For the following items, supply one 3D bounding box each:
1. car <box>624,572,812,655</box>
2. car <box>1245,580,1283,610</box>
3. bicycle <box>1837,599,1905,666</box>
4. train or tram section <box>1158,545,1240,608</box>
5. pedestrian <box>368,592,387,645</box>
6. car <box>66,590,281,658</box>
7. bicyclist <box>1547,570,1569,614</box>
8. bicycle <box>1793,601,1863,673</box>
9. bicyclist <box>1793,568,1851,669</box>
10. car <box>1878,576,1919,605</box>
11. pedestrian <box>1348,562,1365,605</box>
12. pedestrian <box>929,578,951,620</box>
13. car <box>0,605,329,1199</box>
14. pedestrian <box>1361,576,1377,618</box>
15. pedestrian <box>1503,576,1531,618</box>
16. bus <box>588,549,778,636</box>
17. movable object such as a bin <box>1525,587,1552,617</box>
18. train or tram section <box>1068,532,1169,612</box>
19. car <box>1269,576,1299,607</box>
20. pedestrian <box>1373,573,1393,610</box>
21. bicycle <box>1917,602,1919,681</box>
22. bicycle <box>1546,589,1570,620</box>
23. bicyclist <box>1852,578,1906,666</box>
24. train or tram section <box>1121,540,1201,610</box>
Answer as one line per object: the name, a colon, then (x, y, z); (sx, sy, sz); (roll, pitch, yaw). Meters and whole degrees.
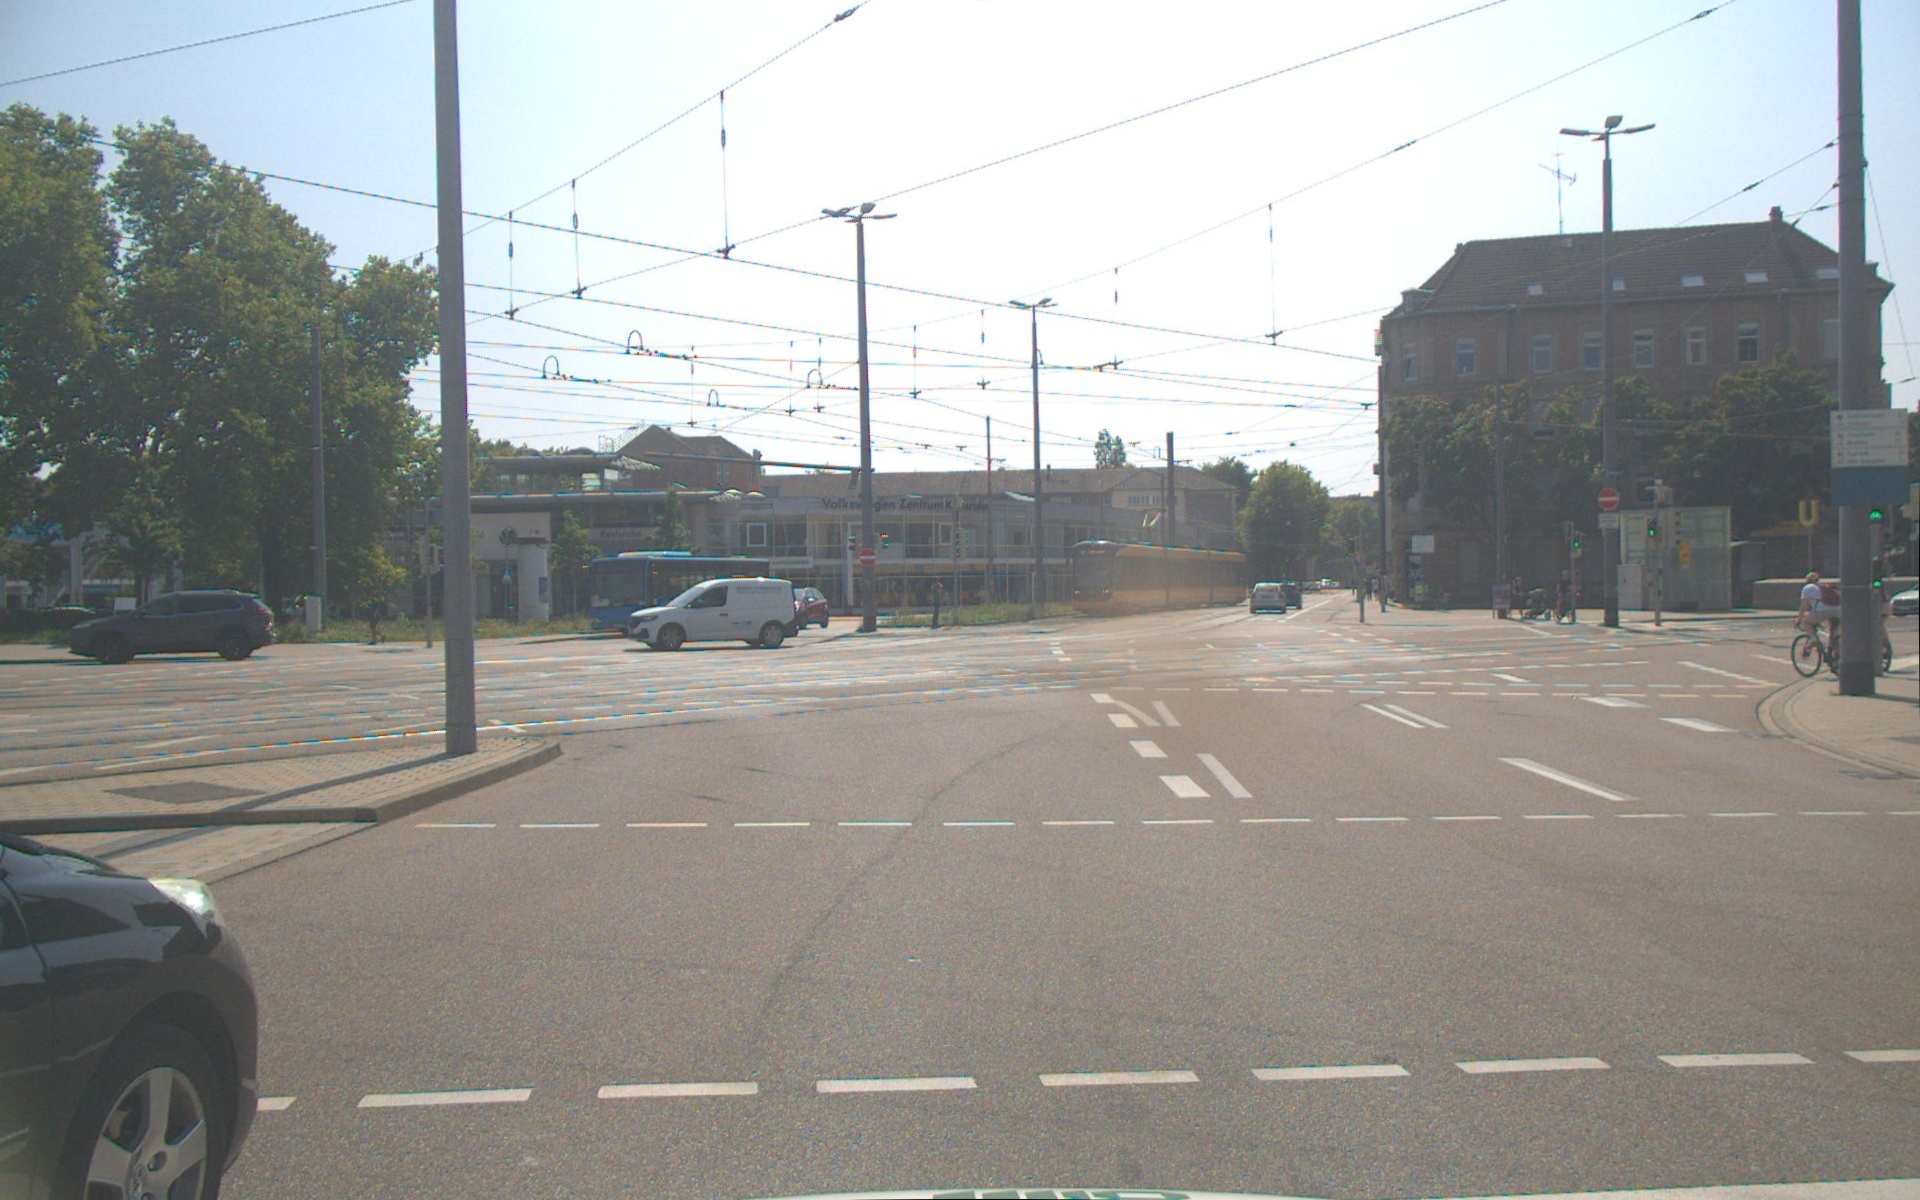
car: (-6.398, 0.320, 43.752); (4.552, 2.049, 1.984); (-1, 0, -25)
car: (15.063, -0.263, 81.702); (1.732, 1.440, 4.193); (-1, 0, 12)
bicycle: (15.320, 0.530, 27.834); (0.525, 1.073, 1.655); (-1, 0, 12)
train or tram section: (14.743, -1.381, 101.026); (2.534, 3.578, 12.977); (-1, 0, 19)
pedestrian: (-18.727, 0.590, 53.219); (0.544, 1.713, 0.452); (-1, 0, -19)
car: (-19.097, 0.554, 40.399); (4.545, 1.531, 1.987); (-1, 0, -21)
bicyclist: (21.416, -0.300, 59.209); (0.598, 1.555, 0.521); (-1, 0, 6)
bicycle: (13.535, 0.564, 25.820); (0.525, 1.073, 1.655); (-1, 0, 12)
bicyclist: (13.508, 0.283, 25.931); (0.614, 1.544, 0.712); (-1, 0, 12)
car: (37.144, -0.385, 62.876); (3.935, 1.109, 1.985); (-1, 0, -24)
pedestrian: (28.125, -1.171, 117.294); (0.963, 3.070, 0.975); (-1, 0, 5)
pedestrian: (-0.703, -0.051, 58.646); (0.666, 1.468, 0.364); (-1, 0, -18)
car: (-2.459, 0.726, 2.033); (1.728, 1.412, 3.783); (1, 0, 3)
pedestrian: (29.944, -0.226, 121.050); (0.963, 3.070, 0.975); (-1, 0, 3)
pedestrian: (21.035, -0.108, 62.419); (0.834, 1.572, 0.528); (-1, 0, -9)
bus: (-10.797, -0.332, 66.337); (2.508, 3.136, 12.031); (-1, 0, 16)
movable object such as a bin: (21.675, 0.079, 61.994); (0.798, 1.096, 0.510); (-1, 0, -11)
train or tram section: (7.829, -1.317, 80.345); (2.534, 3.578, 10.904); (-1, 0, 18)
car: (18.087, -0.468, 92.321); (1.601, 1.646, 4.004); (-1, 0, 11)
pedestrian: (18.944, -0.382, 74.011); (0.686, 1.631, 0.572); (-1, 0, -8)
bicycle: (13.192, 0.567, 21.547); (0.481, 1.073, 1.824); (-1, 0, 4)
bicycle: (21.443, 0.165, 59.294); (0.459, 1.073, 1.655); (-1, 0, 7)
bicyclist: (15.247, 0.357, 27.462); (0.519, 1.417, 0.894); (-1, 0, 12)
train or tram section: (11.066, -1.321, 90.230); (2.534, 3.578, 9.663); (-1, 0, 18)
